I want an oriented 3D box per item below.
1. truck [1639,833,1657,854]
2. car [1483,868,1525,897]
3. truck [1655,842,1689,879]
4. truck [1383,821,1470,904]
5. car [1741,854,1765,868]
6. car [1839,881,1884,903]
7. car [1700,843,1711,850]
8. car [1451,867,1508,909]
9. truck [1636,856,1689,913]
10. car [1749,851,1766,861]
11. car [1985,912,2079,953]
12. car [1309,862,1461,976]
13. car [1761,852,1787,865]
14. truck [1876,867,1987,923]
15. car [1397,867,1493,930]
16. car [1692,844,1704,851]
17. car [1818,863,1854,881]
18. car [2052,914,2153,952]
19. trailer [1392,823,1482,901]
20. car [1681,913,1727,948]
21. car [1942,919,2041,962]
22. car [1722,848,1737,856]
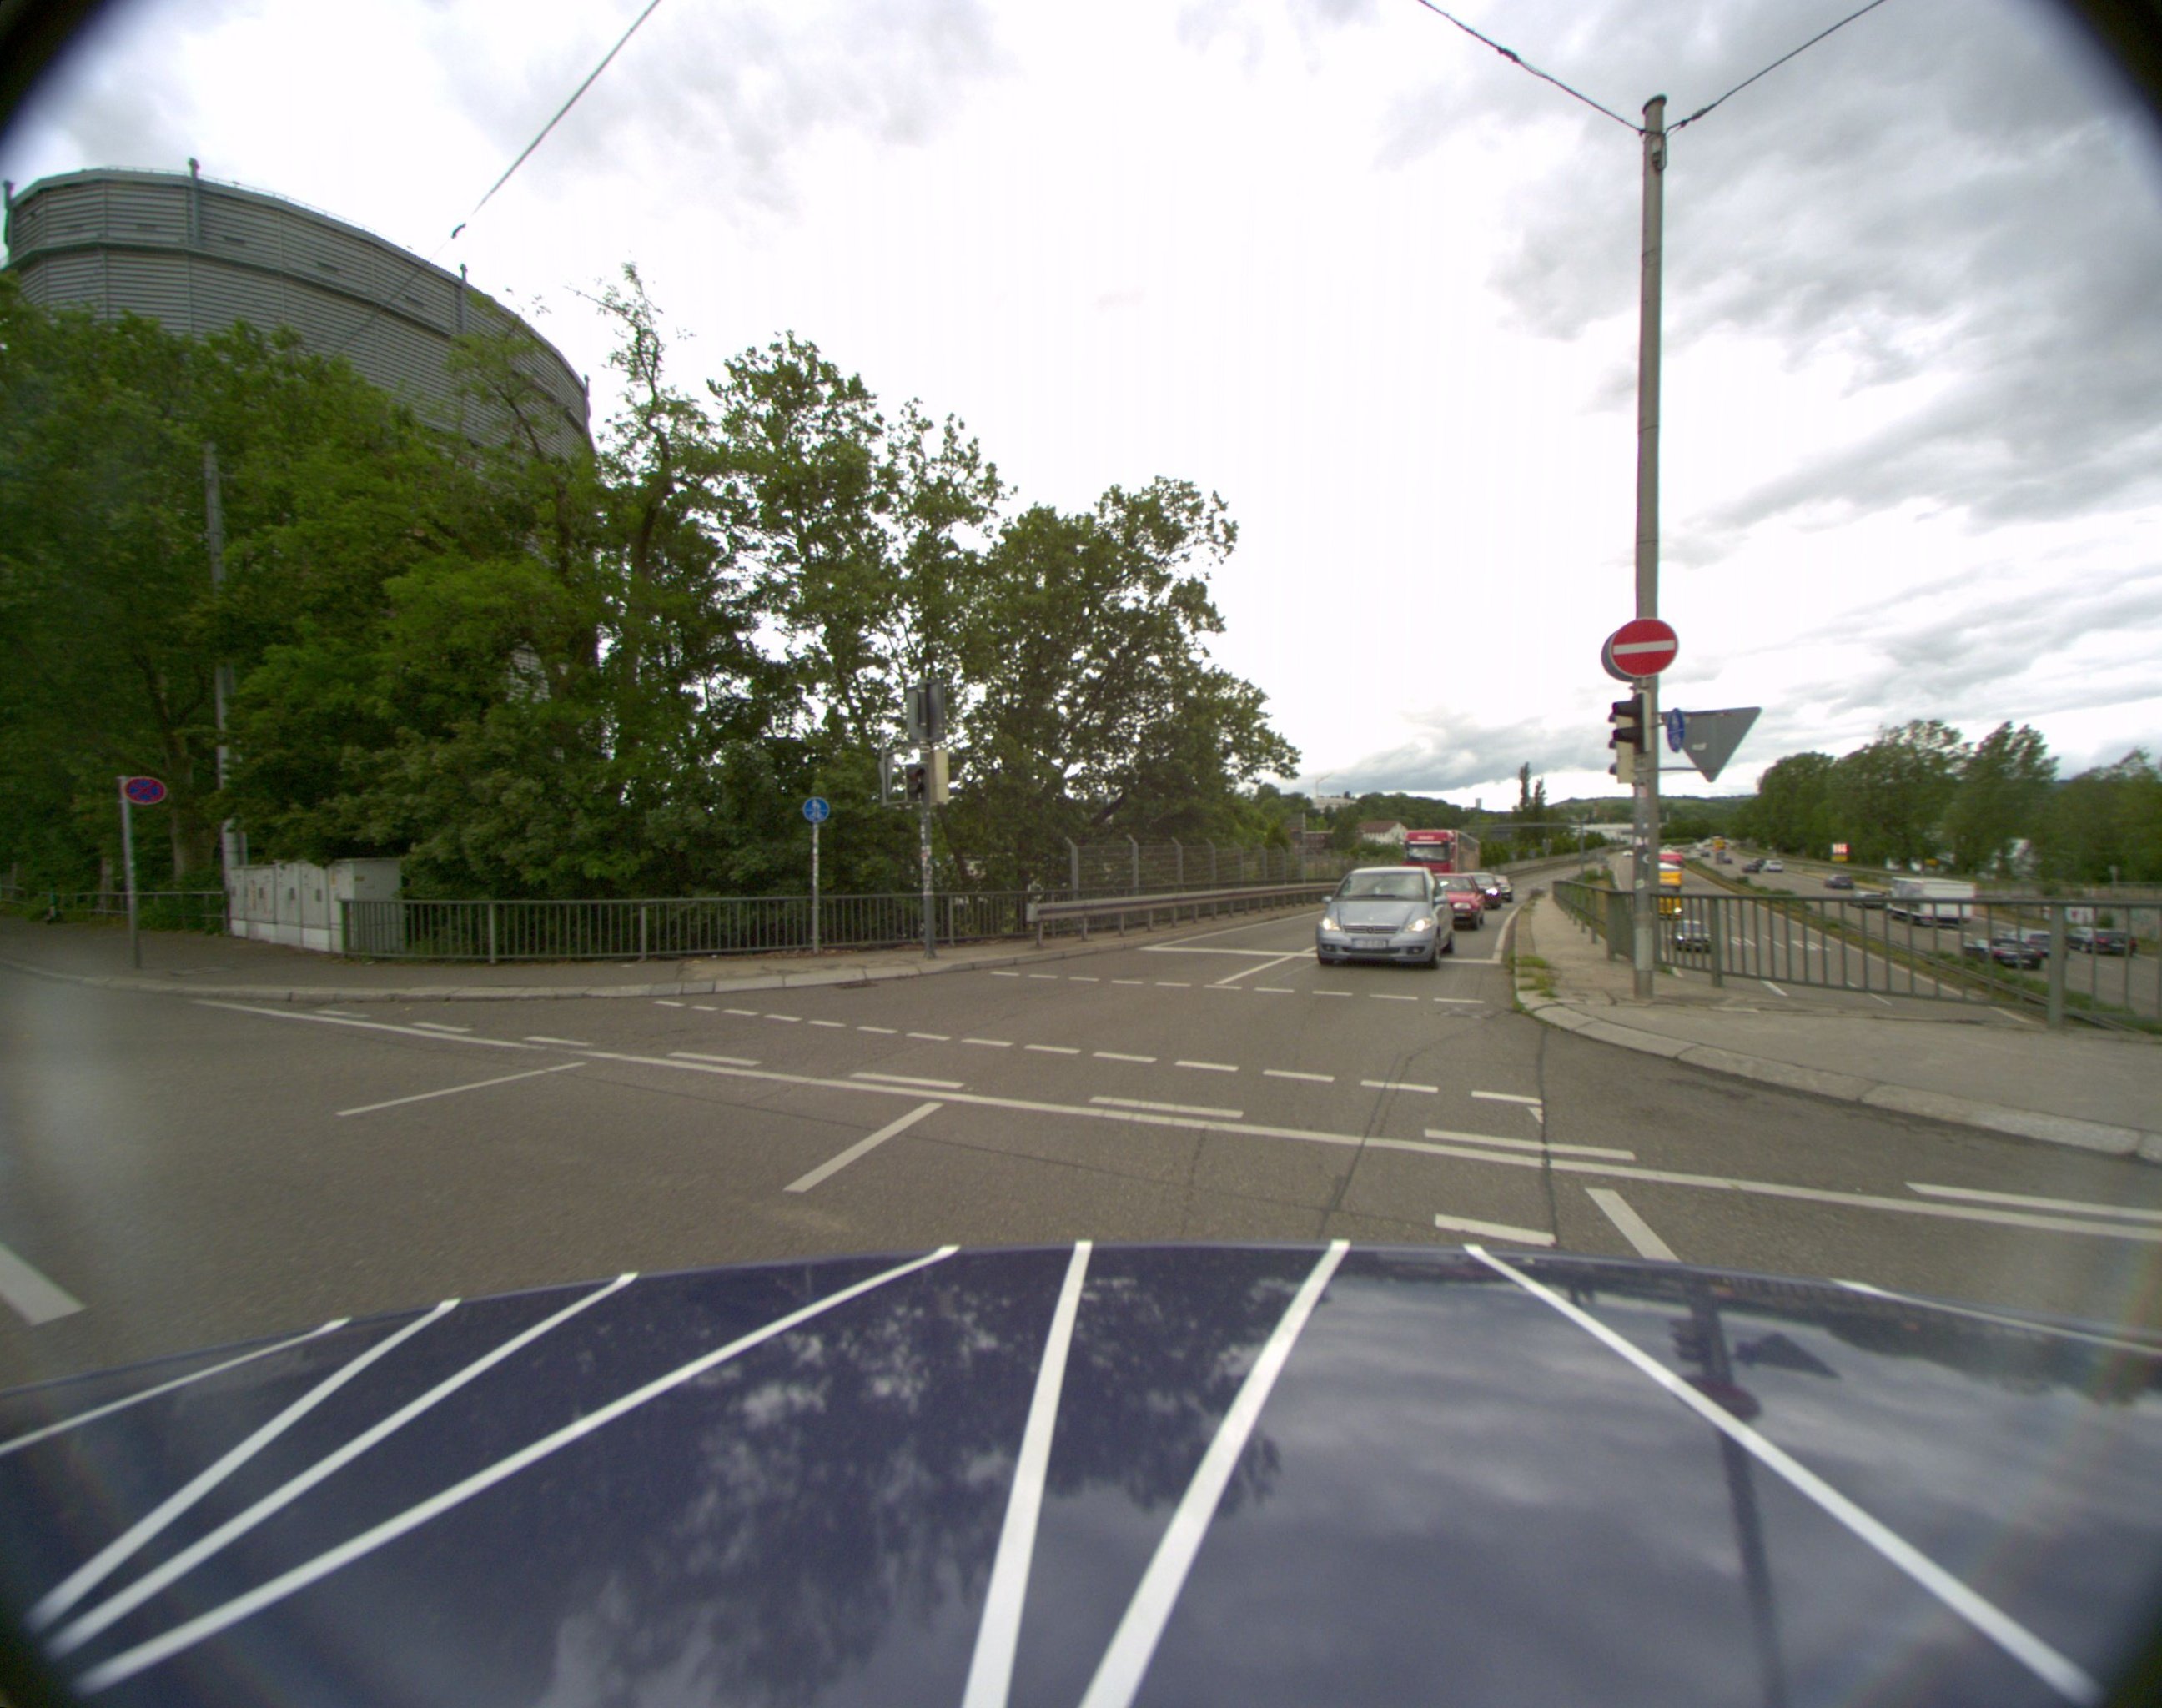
[{"bbox_3d":[142.681,-2.794,191.350,3.370,4.926,13.963,-1,2,36],"label":"truck"},{"bbox_3d":[23.048,1.514,41.360,1.693,1.411,4.477,-1,-1,33],"label":"car"},{"bbox_3d":[77.324,0.702,99.568,2.882,4.332,13.282,1,2,36],"label":"truck"},{"bbox_3d":[19.940,0.527,43.581,3.661,4.295,7.251,-1,-1,31],"label":"truck"},{"bbox_3d":[106.686,1.083,120.673,2.219,2.003,4.649,1,4,35],"label":"car"},{"bbox_3d":[71.848,3.476,70.015,1.994,1.609,4.337,2,2,34],"label":"car"},{"bbox_3d":[162.932,-1.883,198.255,1.994,1.707,3.647,2,2,35],"label":"car"},{"bbox_3d":[16.702,1.356,31.716,1.693,1.412,4.475,-1,2,33],"label":"car"},{"bbox_3d":[50.049,2.461,65.606,2.894,4.161,10.043,2,3,34],"label":"truck"},{"bbox_3d":[124.065,0.397,139.357,1.994,1.758,3.490,2,2,36],"label":"car"},{"bbox_3d":[56.143,4.568,44.970,2.132,1.707,4.433,1,3,33],"label":"car"},{"bbox_3d":[5.203,0.947,12.728,1.743,1.594,3.690,-1,-1,31],"label":"car"},{"bbox_3d":[113.473,0.675,124.504,2.591,2.002,4.650,1,2,35],"label":"car"},{"bbox_3d":[64.835,2.992,58.233,3.584,3.437,8.255,2,3,34],"label":"truck"},{"bbox_3d":[9.705,1.102,20.118,1.743,1.454,3.963,-1,-1,33],"label":"car"},{"bbox_3d":[151.079,-1.533,185.972,1.994,1.707,3.647,2,2,36],"label":"car"},{"bbox_3d":[89.869,2.147,90.485,1.994,1.610,4.334,1,6,31],"label":"car"},{"bbox_3d":[60.748,4.668,45.315,2.132,1.557,4.433,1,3,33],"label":"car"},{"bbox_3d":[23.141,0.575,48.791,3.661,4.295,13.811,-1,-1,31],"label":"trailer"},{"bbox_3d":[38.376,4.673,46.913,1.875,1.688,3.848,1,2,35],"label":"car"},{"bbox_3d":[50.088,4.712,41.931,2.331,1.707,4.740,-3,1,36],"label":"car"},{"bbox_3d":[130.998,-0.393,153.445,1.994,1.707,3.647,2,2,36],"label":"car"}]
